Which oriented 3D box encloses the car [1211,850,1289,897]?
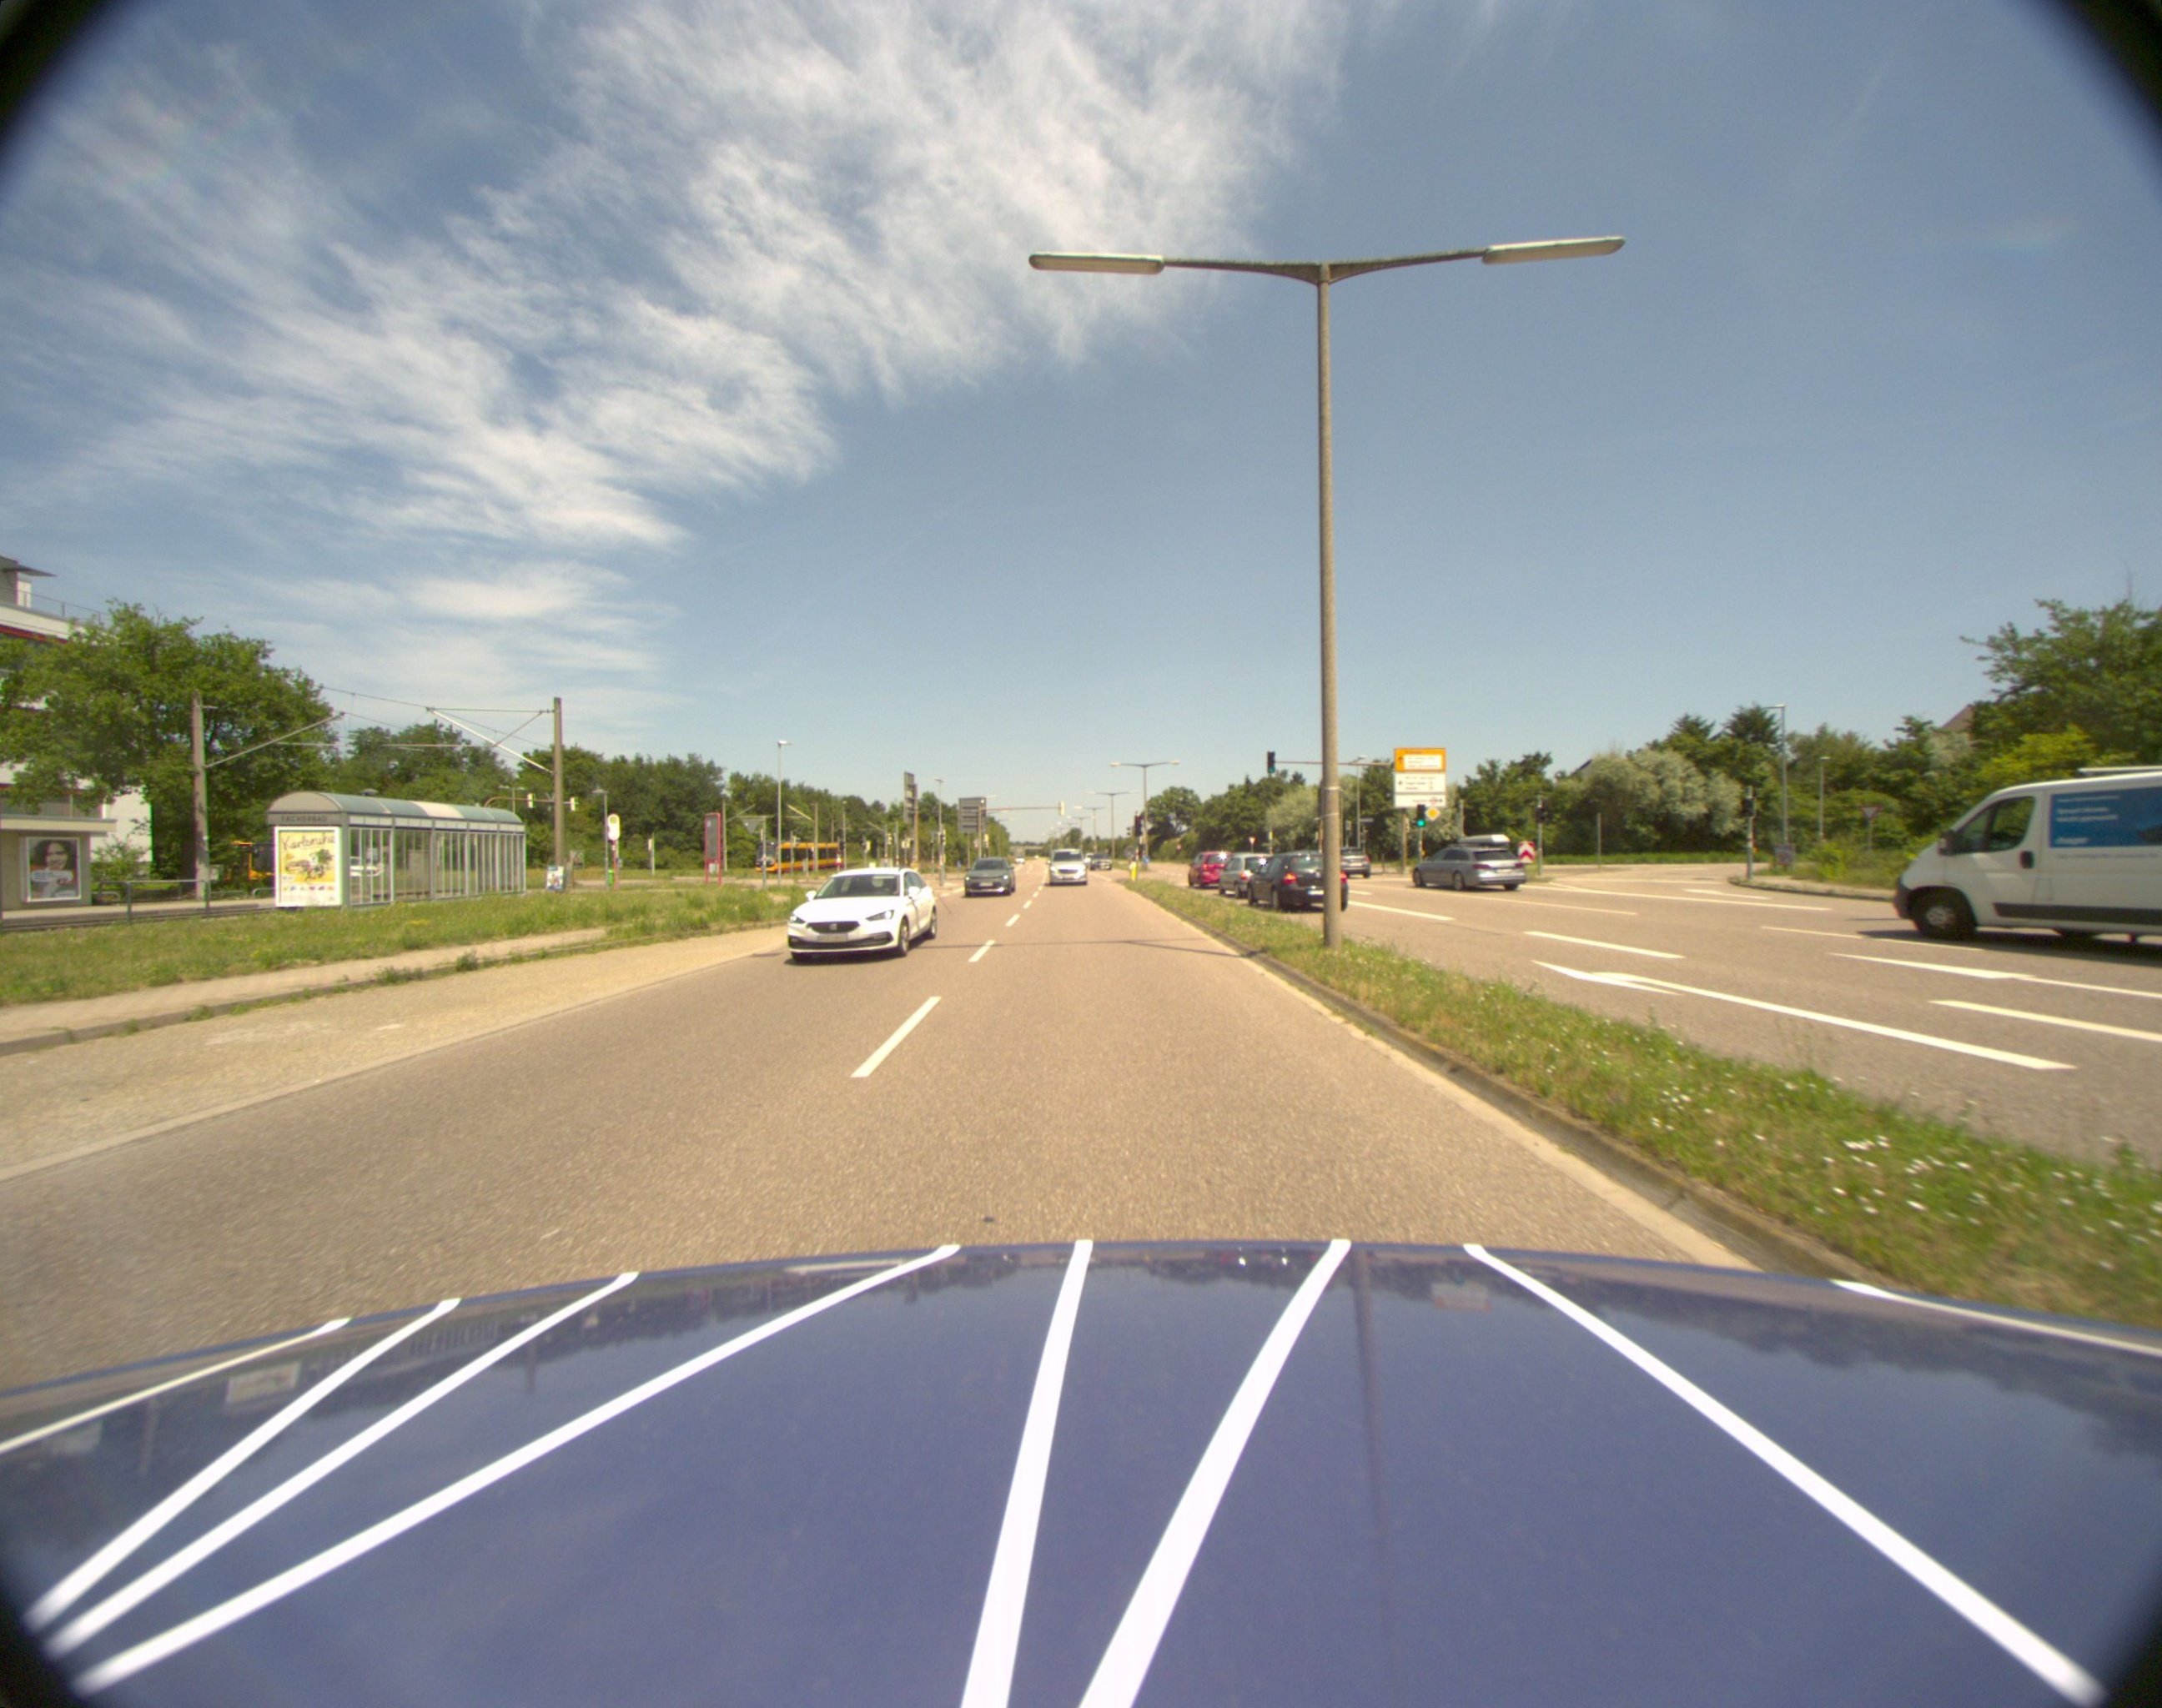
[{"bbox_3d":[5.498,0.610,25.176,1.565,1.415,3.853,-2,0,-2],"label":"car"}]

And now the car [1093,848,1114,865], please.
[{"bbox_3d":[2.164,0.223,74.564,1.785,1.658,4.530,-1,0,-2],"label":"car"}]

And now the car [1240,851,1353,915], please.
[{"bbox_3d":[5.402,0.667,19.598,1.680,1.426,4.190,-2,0,0],"label":"car"}]

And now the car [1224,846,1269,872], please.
[{"bbox_3d":[9.592,0.273,44.431,1.601,1.377,4.002,-2,0,-2],"label":"car"}]

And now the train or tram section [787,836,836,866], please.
[{"bbox_3d":[-34.026,-0.361,96.532,2.822,3.561,12.495,-1,0,-5],"label":"train or tram section"}]

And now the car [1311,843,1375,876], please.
[{"bbox_3d":[13.041,0.257,38.080,1.663,1.530,3.999,-2,0,-2],"label":"car"}]

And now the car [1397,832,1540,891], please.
[{"bbox_3d":[12.847,0.214,25.628,1.970,1.740,5.019,-1,0,-4],"label":"car"}]

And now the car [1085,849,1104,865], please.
[{"bbox_3d":[1.501,0.320,87.324,1.922,1.661,4.000,-1,1,-3],"label":"car"}]

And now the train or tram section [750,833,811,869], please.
[{"bbox_3d":[-32.973,-0.324,84.067,2.822,3.561,12.494,-1,0,-5],"label":"train or tram section"}]

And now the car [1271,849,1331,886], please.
[{"bbox_3d":[9.173,0.532,31.897,1.451,1.437,3.505,-2,0,-1],"label":"car"}]

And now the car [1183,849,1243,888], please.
[{"bbox_3d":[5.473,0.560,31.918,1.663,1.482,3.999,-1,0,-2],"label":"car"}]

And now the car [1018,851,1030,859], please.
[{"bbox_3d":[-11.939,0.168,158.842,1.998,1.652,4.000,-1,0,1],"label":"car"}]

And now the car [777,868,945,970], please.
[{"bbox_3d":[-3.668,1.003,13.540,1.686,1.381,4.450,-1,0,0],"label":"car"}]

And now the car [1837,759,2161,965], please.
[{"bbox_3d":[12.970,0.041,9.175,2.255,2.260,5.448,-2,1,0],"label":"car"}]

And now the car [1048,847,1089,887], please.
[{"bbox_3d":[-0.657,0.609,39.480,1.876,1.866,5.731,-3,0,-1],"label":"car"}]

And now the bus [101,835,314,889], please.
[{"bbox_3d":[-55.940,0.503,48.717,12.061,3.102,2.840,-1,2,9],"label":"bus"}]

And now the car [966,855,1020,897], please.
[{"bbox_3d":[-3.556,0.843,31.367,1.723,1.587,4.000,0,0,0],"label":"car"}]
